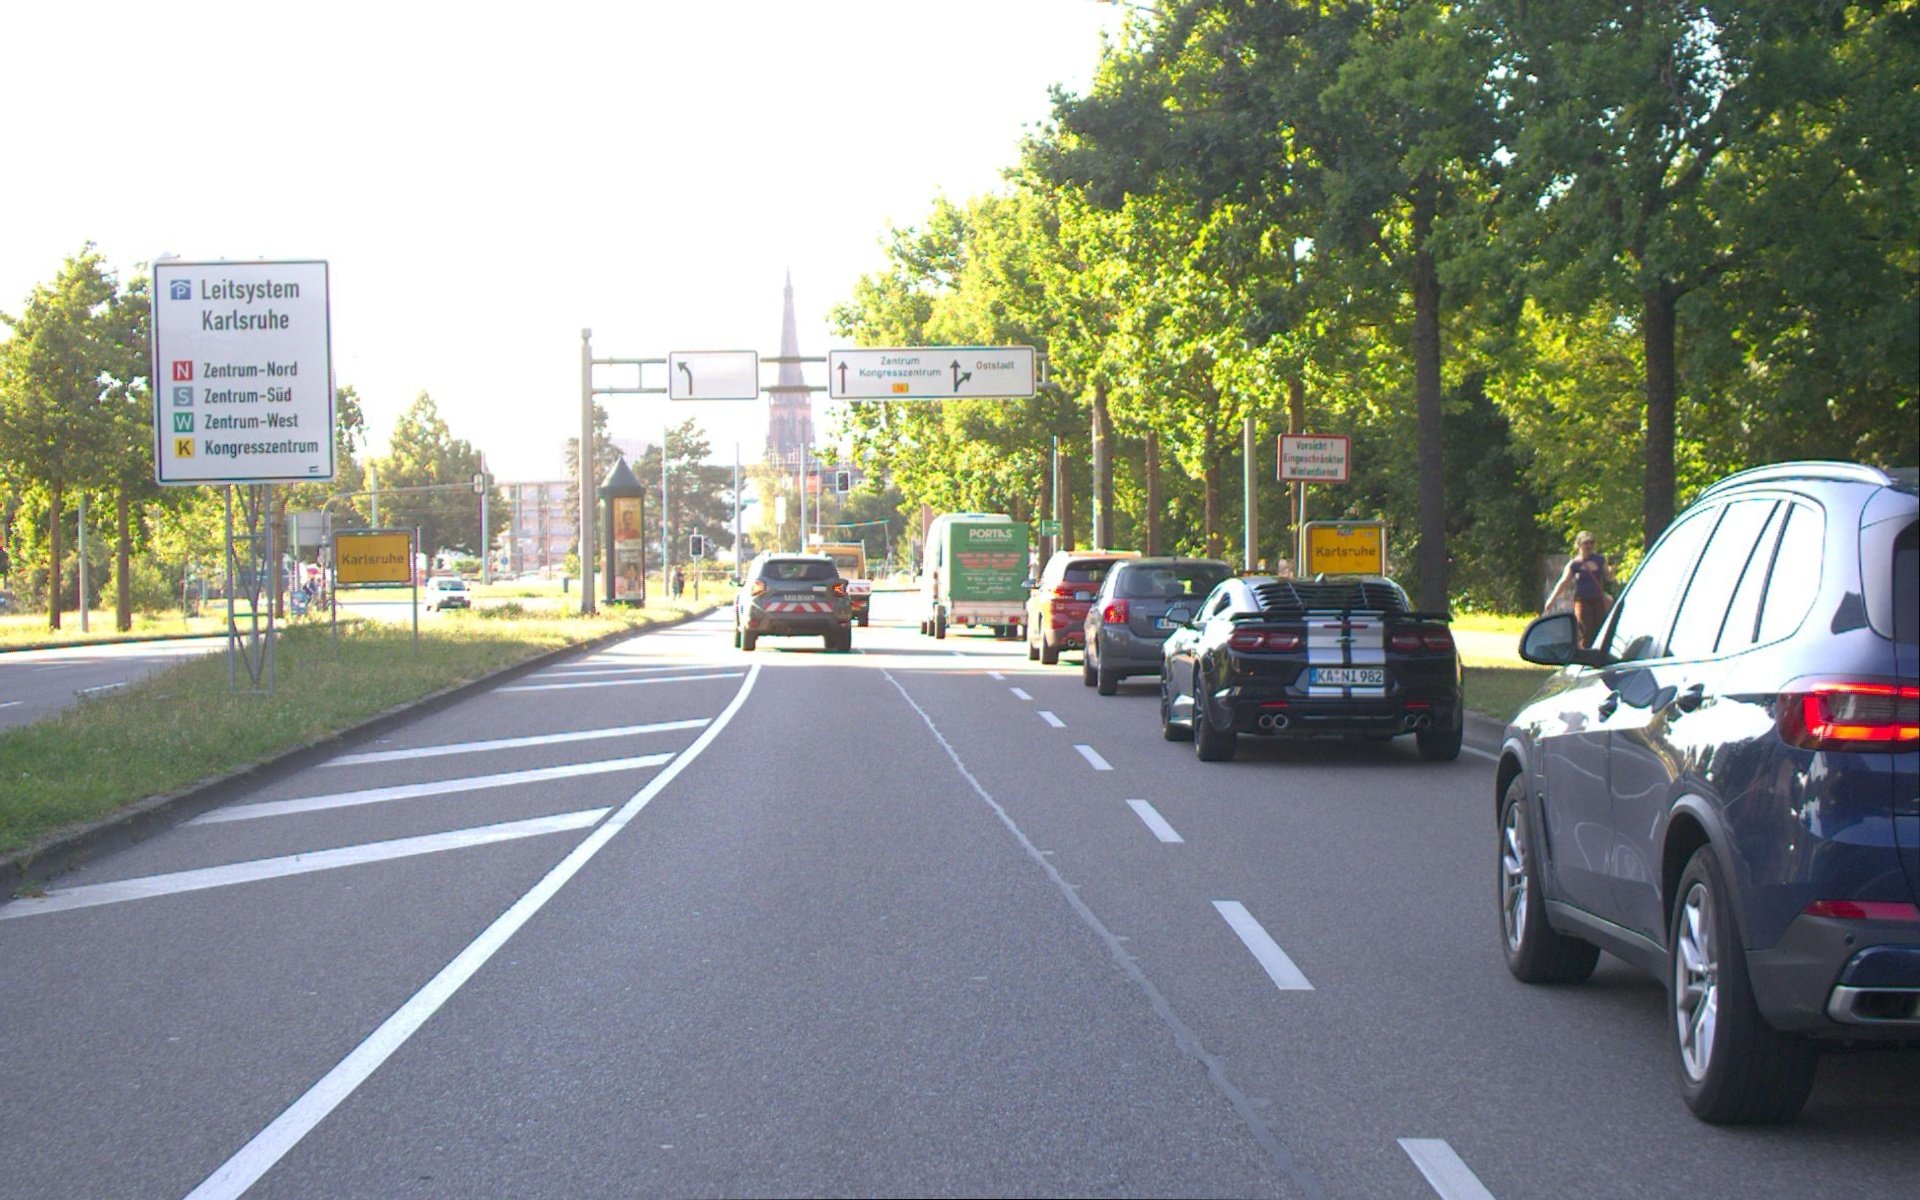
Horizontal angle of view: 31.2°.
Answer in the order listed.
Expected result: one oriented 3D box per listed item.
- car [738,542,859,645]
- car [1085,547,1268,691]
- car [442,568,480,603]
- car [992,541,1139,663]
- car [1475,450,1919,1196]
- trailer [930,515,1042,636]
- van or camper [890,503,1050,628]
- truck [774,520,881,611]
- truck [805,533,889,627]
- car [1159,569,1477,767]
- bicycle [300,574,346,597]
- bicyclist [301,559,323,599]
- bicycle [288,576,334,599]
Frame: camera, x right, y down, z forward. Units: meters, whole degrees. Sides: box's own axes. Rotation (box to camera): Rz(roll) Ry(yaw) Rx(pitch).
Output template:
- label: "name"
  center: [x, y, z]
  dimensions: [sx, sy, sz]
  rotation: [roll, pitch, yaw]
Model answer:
- label: "car"
  center: [-2.761, -0.124, 57.904]
  dimensions: [1.905, 1.654, 4.001]
  rotation: [-1, 0, -4]
- label: "car"
  center: [2.319, 0.169, 37.633]
  dimensions: [1.747, 1.468, 3.820]
  rotation: [-1, 1, 0]
- label: "car"
  center: [-22.888, -0.650, 157.747]
  dimensions: [1.562, 1.569, 3.413]
  rotation: [-1, 0, -5]
- label: "car"
  center: [1.460, -0.009, 49.032]
  dimensions: [1.747, 1.615, 3.820]
  rotation: [2, 1, -3]
- label: "car"
  center: [2.854, 0.511, 10.285]
  dimensions: [1.955, 1.721, 4.699]
  rotation: [0, 0, 1]
- label: "trailer"
  center: [0.506, -0.515, 70.250]
  dimensions: [2.090, 2.392, 3.501]
  rotation: [1, 1, -2]
- label: "van or camper"
  center: [0.149, -0.771, 75.713]
  dimensions: [2.284, 2.620, 6.585]
  rotation: [0, 1, -11]
- label: "truck"
  center: [-3.930, -1.025, 100.541]
  dimensions: [2.580, 2.549, 6.253]
  rotation: [-1, 1, -7]
- label: "truck"
  center: [-3.320, -0.599, 100.104]
  dimensions: [2.219, 2.642, 4.774]
  rotation: [-1, 1, -4]
- label: "car"
  center: [2.598, 0.448, 25.976]
  dimensions: [1.854, 1.333, 4.625]
  rotation: [0, 1, -1]
- label: "bicycle"
  center: [-28.248, -0.630, 152.487]
  dimensions: [1.908, 1.016, 0.504]
  rotation: [0, 0, 5]
- label: "bicyclist"
  center: [-28.497, -0.921, 151.187]
  dimensions: [0.813, 1.764, 0.496]
  rotation: [1, 0, 13]
- label: "bicycle"
  center: [-28.543, -0.548, 151.199]
  dimensions: [1.909, 1.016, 0.504]
  rotation: [1, 0, 13]
